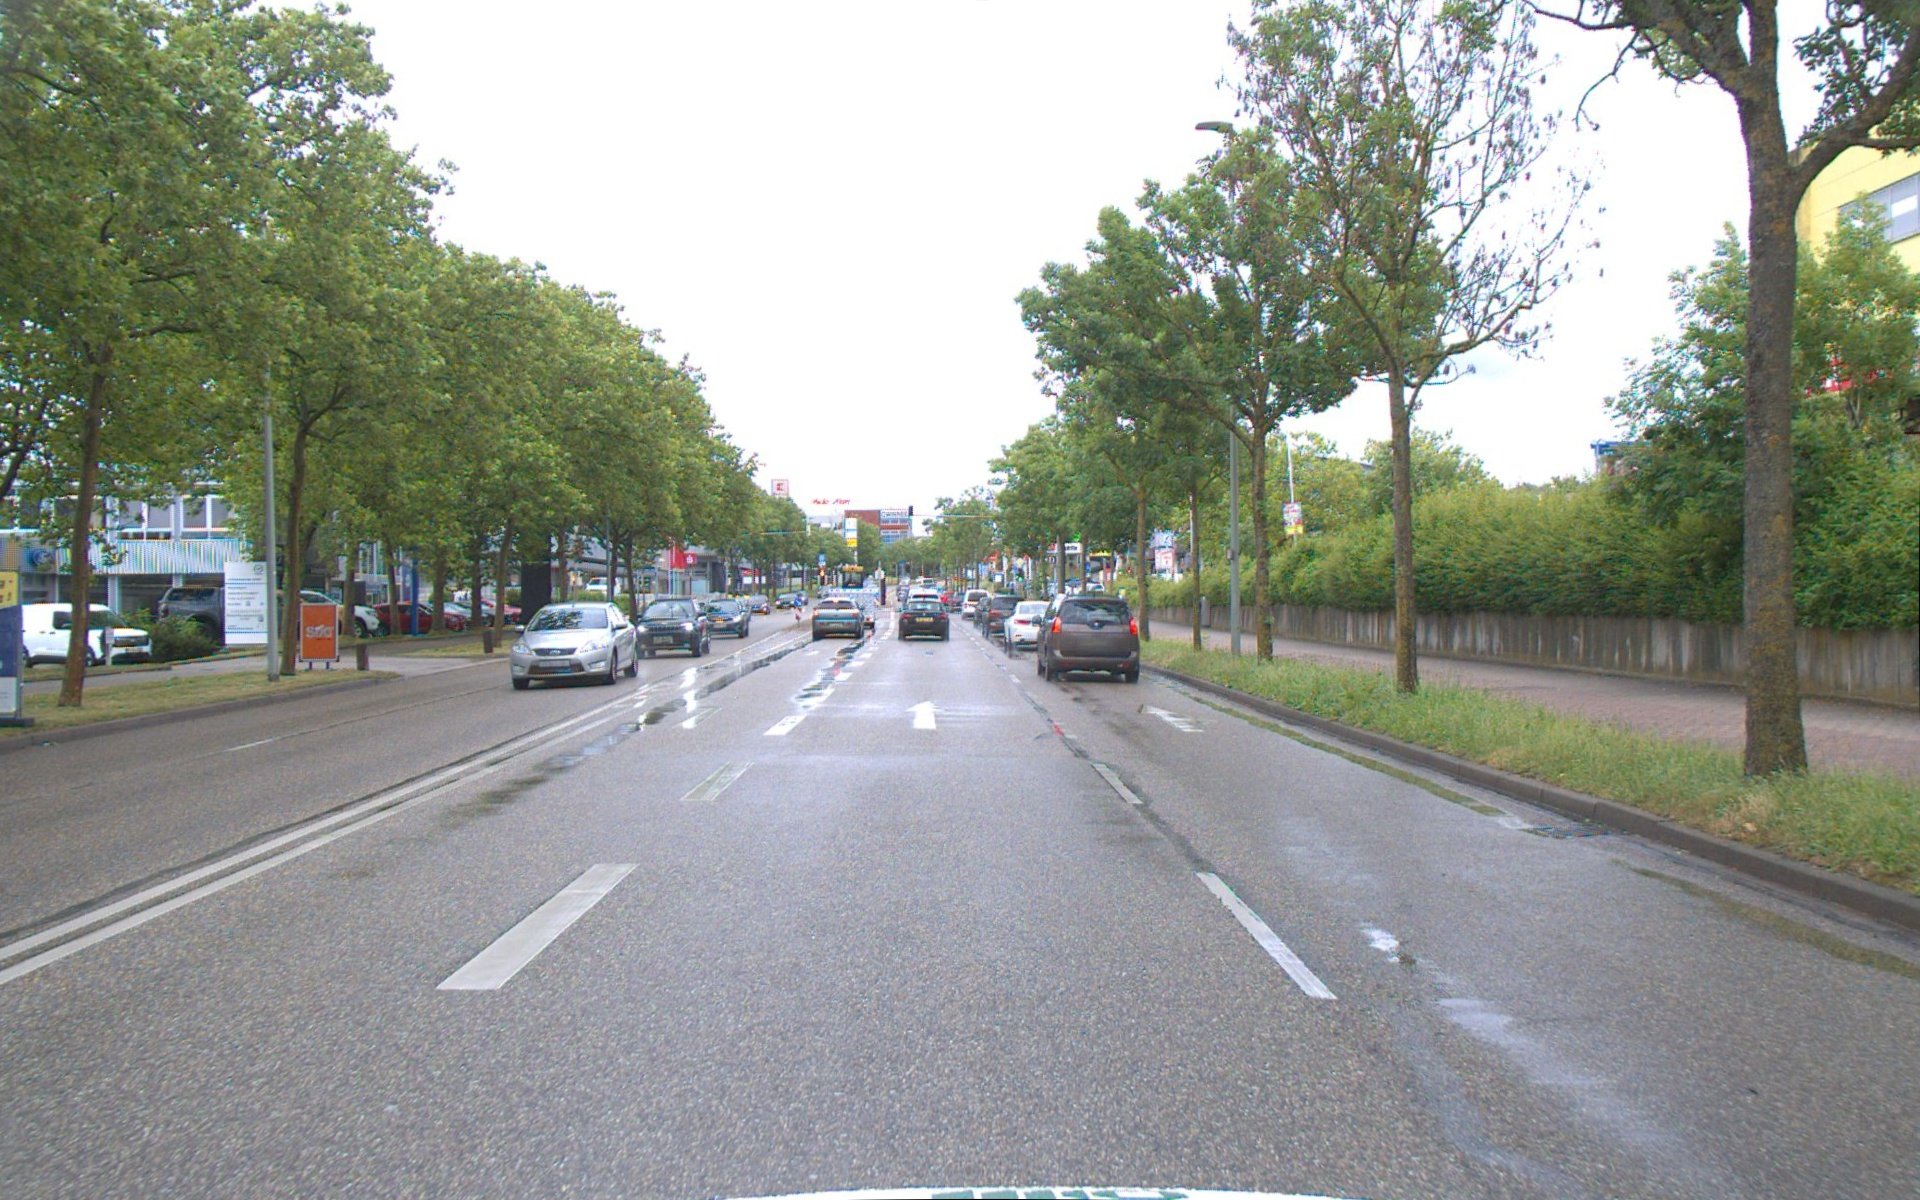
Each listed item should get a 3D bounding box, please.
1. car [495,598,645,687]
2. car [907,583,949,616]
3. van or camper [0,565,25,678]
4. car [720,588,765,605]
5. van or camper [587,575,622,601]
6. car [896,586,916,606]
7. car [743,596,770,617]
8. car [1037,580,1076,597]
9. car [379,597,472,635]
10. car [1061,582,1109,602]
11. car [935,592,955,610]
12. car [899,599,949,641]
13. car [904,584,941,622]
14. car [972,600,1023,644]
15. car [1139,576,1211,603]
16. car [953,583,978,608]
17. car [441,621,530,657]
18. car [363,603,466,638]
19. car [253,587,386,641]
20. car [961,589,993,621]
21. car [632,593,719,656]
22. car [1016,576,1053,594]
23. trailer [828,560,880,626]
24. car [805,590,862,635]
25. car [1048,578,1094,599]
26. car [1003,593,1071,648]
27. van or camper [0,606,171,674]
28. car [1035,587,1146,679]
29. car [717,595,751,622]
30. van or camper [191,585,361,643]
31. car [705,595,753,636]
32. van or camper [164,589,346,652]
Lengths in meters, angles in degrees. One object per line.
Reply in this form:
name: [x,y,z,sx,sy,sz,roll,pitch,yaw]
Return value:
car: [-7.160,0.726,30.833,1.954,1.454,4.681,-2,0,-4]
car: [-1.481,-0.043,75.113,1.649,1.401,3.996,-1,0,-5]
van or camper: [-22.219,0.471,34.449,1.953,2.513,6.400,1,0,-1]
car: [-20.592,-0.321,156.429,3.916,1.579,1.895,-1,1,33]
van or camper: [-28.871,-0.956,134.539,1.953,2.001,4.786,1,-1,-2]
car: [-5.667,-0.444,174.484,1.953,2.049,3.999,1,-1,-1]
car: [-15.272,0.470,124.056,1.676,1.490,4.083,-2,0,-3]
car: [9.108,-1.094,156.361,3.568,1.563,1.619,-1,1,-42]
car: [-26.419,0.776,81.750,4.165,1.682,1.996,-2,0,-25]
car: [10.422,-0.670,138.175,1.896,1.604,4.267,-1,1,39]
car: [-1.267,0.075,141.842,1.661,1.468,3.988,-1,0,-1]
car: [-1.325,0.703,59.757,1.746,1.422,3.998,0,0,-2]
car: [-2.094,0.182,92.177,1.953,2.049,3.998,1,-1,-2]
car: [1.440,0.833,64.899,1.764,1.614,4.450,1,1,-1]
car: [12.286,-0.605,94.854,3.905,1.467,1.655,-1,1,0]
car: [0.367,-0.285,118.007,1.650,1.713,3.402,1,-1,-1]
car: [-24.741,2.008,86.206,4.166,1.623,1.984,-2,1,-25]
car: [-25.883,0.940,78.481,4.495,1.624,1.985,0,0,-24]
car: [-23.272,0.492,60.102,4.396,1.847,1.985,-1,0,-25]
car: [0.993,0.296,100.571,1.746,1.899,3.999,-1,0,-2]
car: [-7.675,0.623,44.924,1.727,1.558,3.857,-3,0,-1]
car: [8.314,-1.676,185.841,4.027,1.938,1.799,-1,1,0]
trailer: [-4.945,-0.336,77.879,2.325,2.947,5.542,-1,0,-3]
car: [-4.764,0.440,62.760,1.868,1.606,4.879,-1,0,-1]
car: [10.148,-1.063,150.648,3.993,1.691,1.952,-4,2,-42]
car: [2.312,0.582,50.732,1.764,1.571,4.619,1,0,-1]
van or camper: [-24.484,1.111,46.225,4.538,1.815,1.838,-1,0,23]
car: [2.487,0.592,32.362,1.691,1.652,4.469,-1,0,-1]
car: [-13.551,0.500,99.388,1.676,1.490,4.083,-2,0,-3]
van or camper: [-23.548,0.476,57.027,5.289,1.801,2.088,-1,-3,-25]
car: [-9.026,0.591,64.959,1.634,1.487,4.176,-2,0,-5]
van or camper: [-22.495,0.609,52.795,5.221,1.853,2.246,-1,0,-28]
